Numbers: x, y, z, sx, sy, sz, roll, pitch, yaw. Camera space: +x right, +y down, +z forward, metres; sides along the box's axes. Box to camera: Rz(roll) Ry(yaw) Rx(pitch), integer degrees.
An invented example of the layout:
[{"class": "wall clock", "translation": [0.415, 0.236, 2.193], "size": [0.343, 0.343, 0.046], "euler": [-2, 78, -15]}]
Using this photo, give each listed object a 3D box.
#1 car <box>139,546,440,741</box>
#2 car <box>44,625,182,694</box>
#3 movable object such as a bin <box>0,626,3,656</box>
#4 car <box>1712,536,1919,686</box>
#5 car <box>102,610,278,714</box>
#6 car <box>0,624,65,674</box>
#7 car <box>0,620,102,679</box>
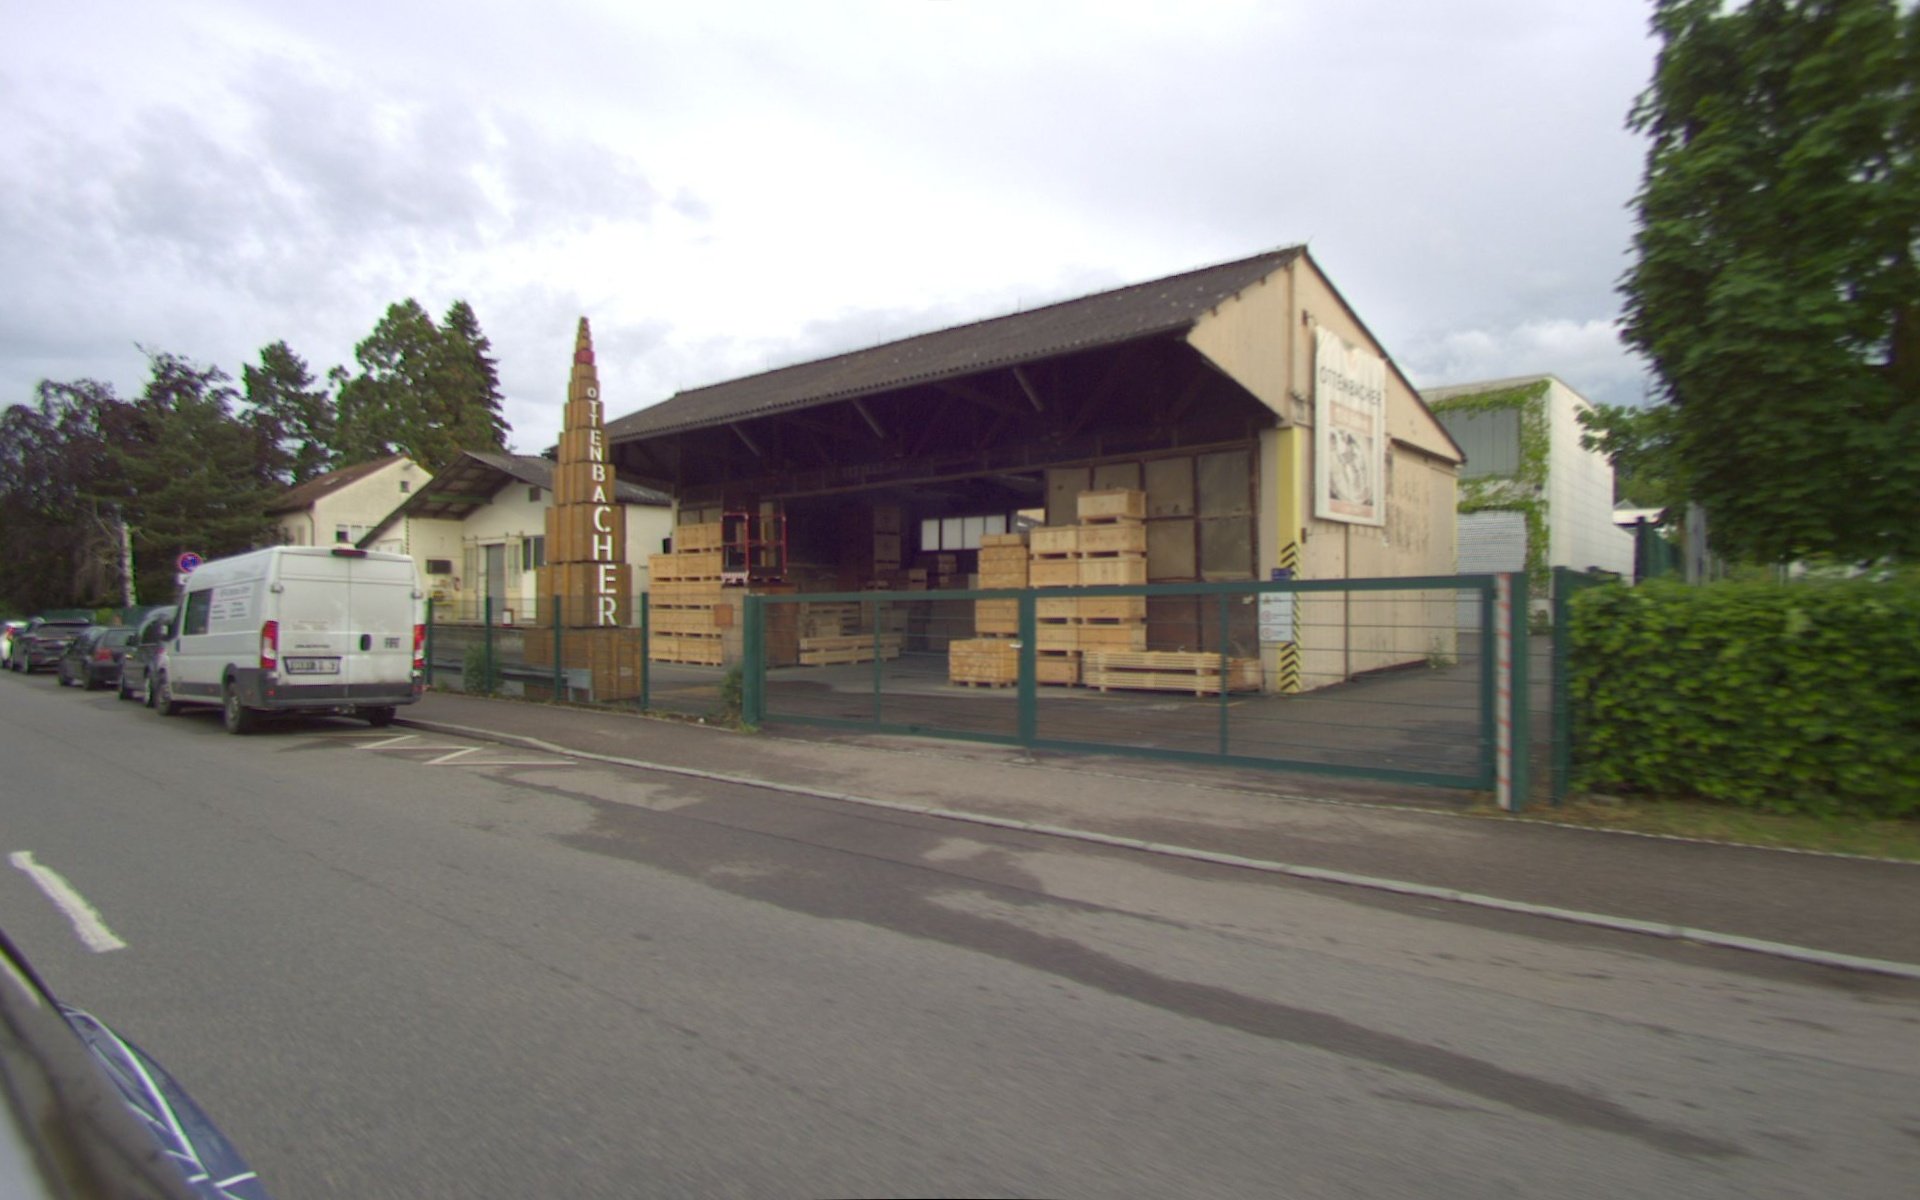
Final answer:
[{"class": "car", "translation": [-10.575, 0.647, 15.681], "size": [6.455, 2.445, 2.135], "euler": [-1, -4, 41]}, {"class": "car", "translation": [-19.783, 1.326, 23.577], "size": [4.313, 1.459, 1.645], "euler": [-1, -2, 39]}, {"class": "movable object such as a bin", "translation": [-42.669, 1.800, 44.207], "size": [1.424, 1.320, 1.089], "euler": [-1, 1, 40]}, {"class": "car", "translation": [10.935, 0.102, 11.228], "size": [4.034, 1.599, 1.632], "euler": [-1, 0, 34]}, {"class": "car", "translation": [-14.858, 1.137, 19.438], "size": [4.444, 1.782, 1.751], "euler": [-1, -4, 41]}, {"class": "car", "translation": [-30.525, 1.541, 32.946], "size": [3.658, 1.520, 1.599], "euler": [-1, -2, 41]}, {"class": "car", "translation": [-26.598, 1.403, 29.590], "size": [3.913, 1.596, 1.644], "euler": [-1, -2, 40]}]
